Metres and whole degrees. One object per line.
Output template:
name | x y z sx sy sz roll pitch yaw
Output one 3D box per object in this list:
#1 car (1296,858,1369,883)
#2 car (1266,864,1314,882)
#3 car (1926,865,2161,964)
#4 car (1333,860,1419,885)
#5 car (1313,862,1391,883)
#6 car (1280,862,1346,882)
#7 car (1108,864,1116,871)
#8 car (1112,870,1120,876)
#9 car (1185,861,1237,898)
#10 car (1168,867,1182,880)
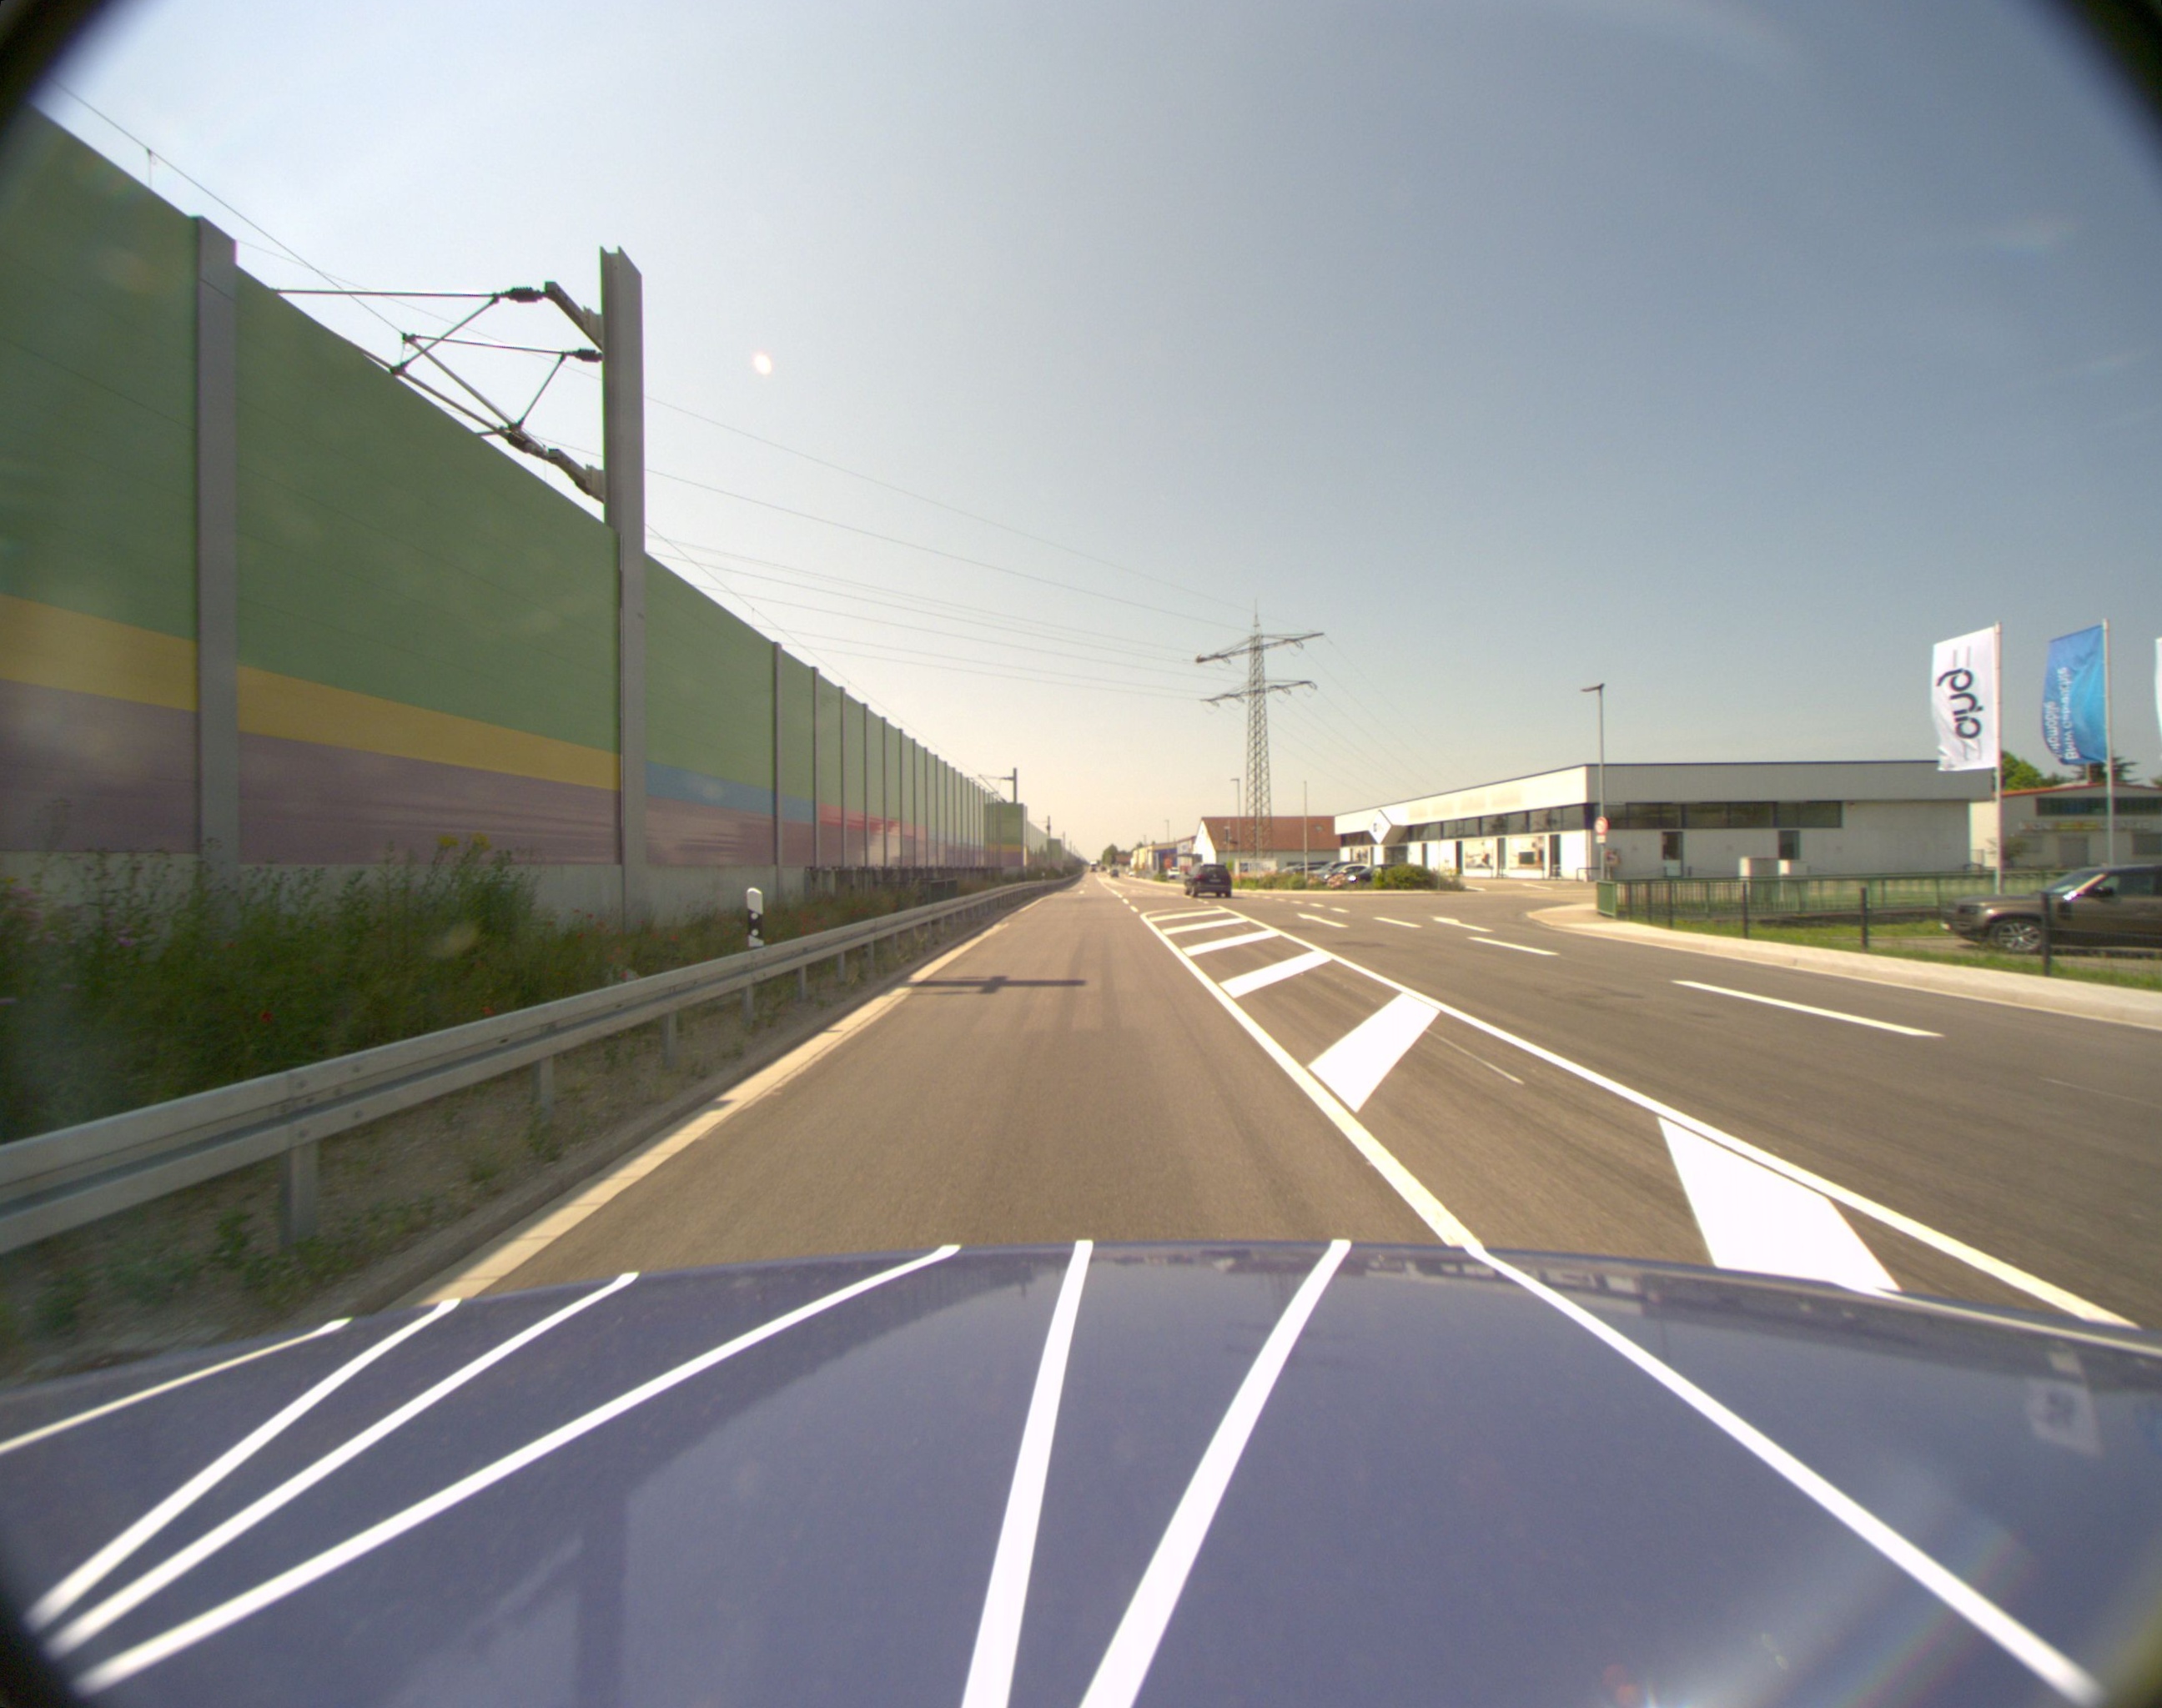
car | 16.908 1.137 51.199 4.235 1.638 1.834 0 -1 -3
car | 17.330 1.579 63.200 3.518 1.246 1.505 -3 -1 -1
car | 21.207 1.187 15.738 4.666 1.854 2.070 -1 1 38
car | 17.046 1.087 44.006 4.235 1.385 1.834 0 -1 -3
car | 17.087 1.195 48.044 4.235 1.306 1.834 0 -1 -3
car | 16.586 1.280 54.423 3.999 1.405 1.999 0 -1 -6
car | 7.789 3.432 191.198 1.998 1.863 5.170 1 -1 0
car | 7.978 4.374 172.672 1.675 1.414 4.001 1 -1 1
car | 6.236 1.209 36.869 1.882 1.663 4.292 0 -1 1
car | 15.893 3.302 129.147 1.998 2.001 4.681 0 0 2
